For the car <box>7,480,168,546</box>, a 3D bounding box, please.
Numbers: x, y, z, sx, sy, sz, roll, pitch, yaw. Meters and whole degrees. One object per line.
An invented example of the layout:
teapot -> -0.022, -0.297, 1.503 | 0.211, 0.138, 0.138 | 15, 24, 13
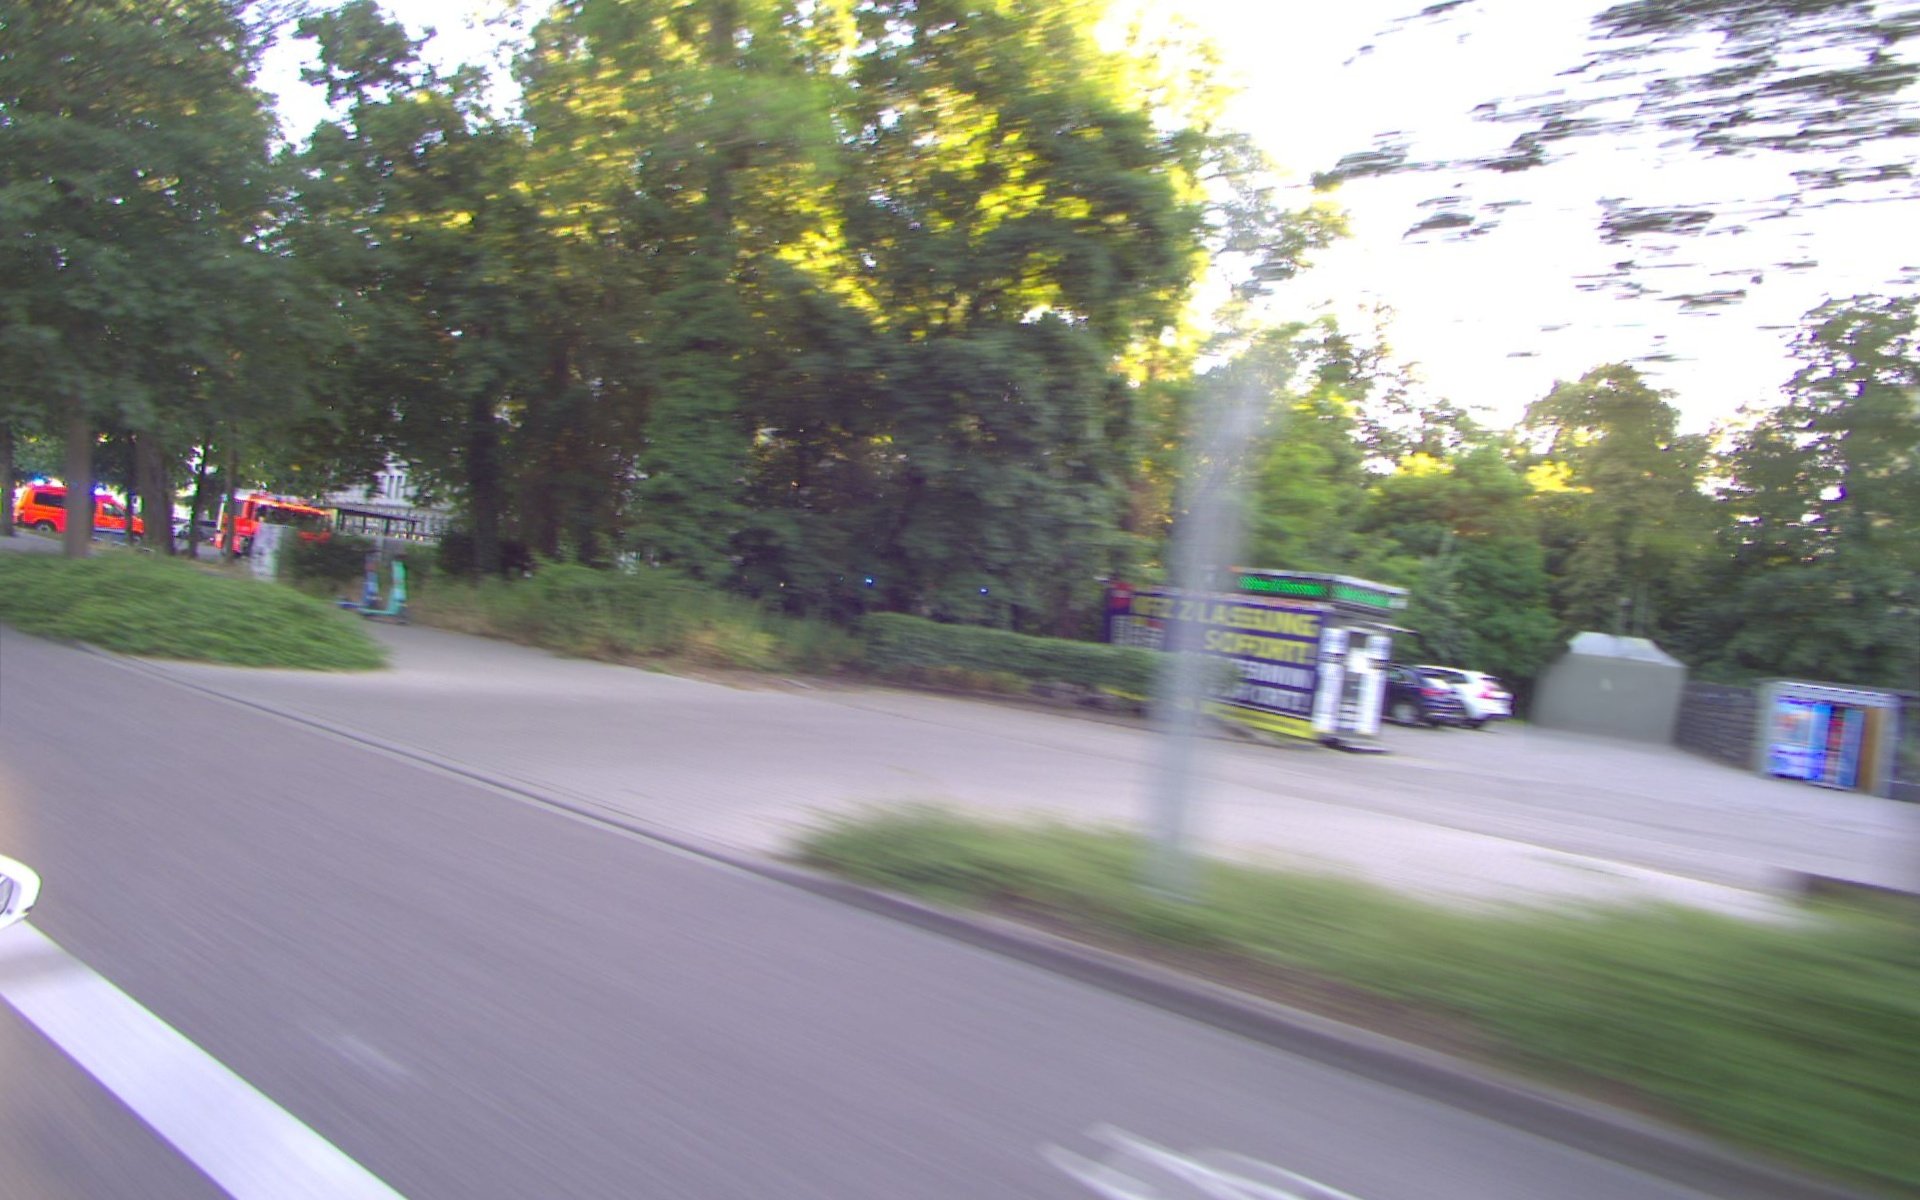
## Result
car -> -37.570, -3.719, 43.436 | 1.894, 2.014, 4.908 | 7, -1, 39

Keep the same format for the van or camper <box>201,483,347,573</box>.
van or camper -> -31.998, -3.409, 46.787 | 8.116, 3.236, 3.437 | 7, -3, 41

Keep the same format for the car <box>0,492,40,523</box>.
car -> -59.336, -5.852, 61.849 | 1.690, 1.609, 3.772 | 7, -1, 39

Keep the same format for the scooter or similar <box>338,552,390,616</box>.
scooter or similar -> -10.858, -0.288, 18.310 | 0.964, 1.054, 0.310 | 7, 1, 32

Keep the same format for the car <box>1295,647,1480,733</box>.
car -> 11.834, 2.450, 28.069 | 1.876, 1.659, 4.240 | 5, 3, -37

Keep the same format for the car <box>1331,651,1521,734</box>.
car -> 13.856, 2.707, 30.113 | 1.912, 1.729, 4.638 | 5, 2, -44

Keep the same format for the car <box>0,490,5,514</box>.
car -> -66.991, -6.924, 67.104 | 1.690, 1.609, 4.457 | 7, -1, 39

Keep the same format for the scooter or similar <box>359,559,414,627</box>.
scooter or similar -> -9.895, -0.119, 17.360 | 0.964, 1.054, 0.310 | 7, 1, 32
